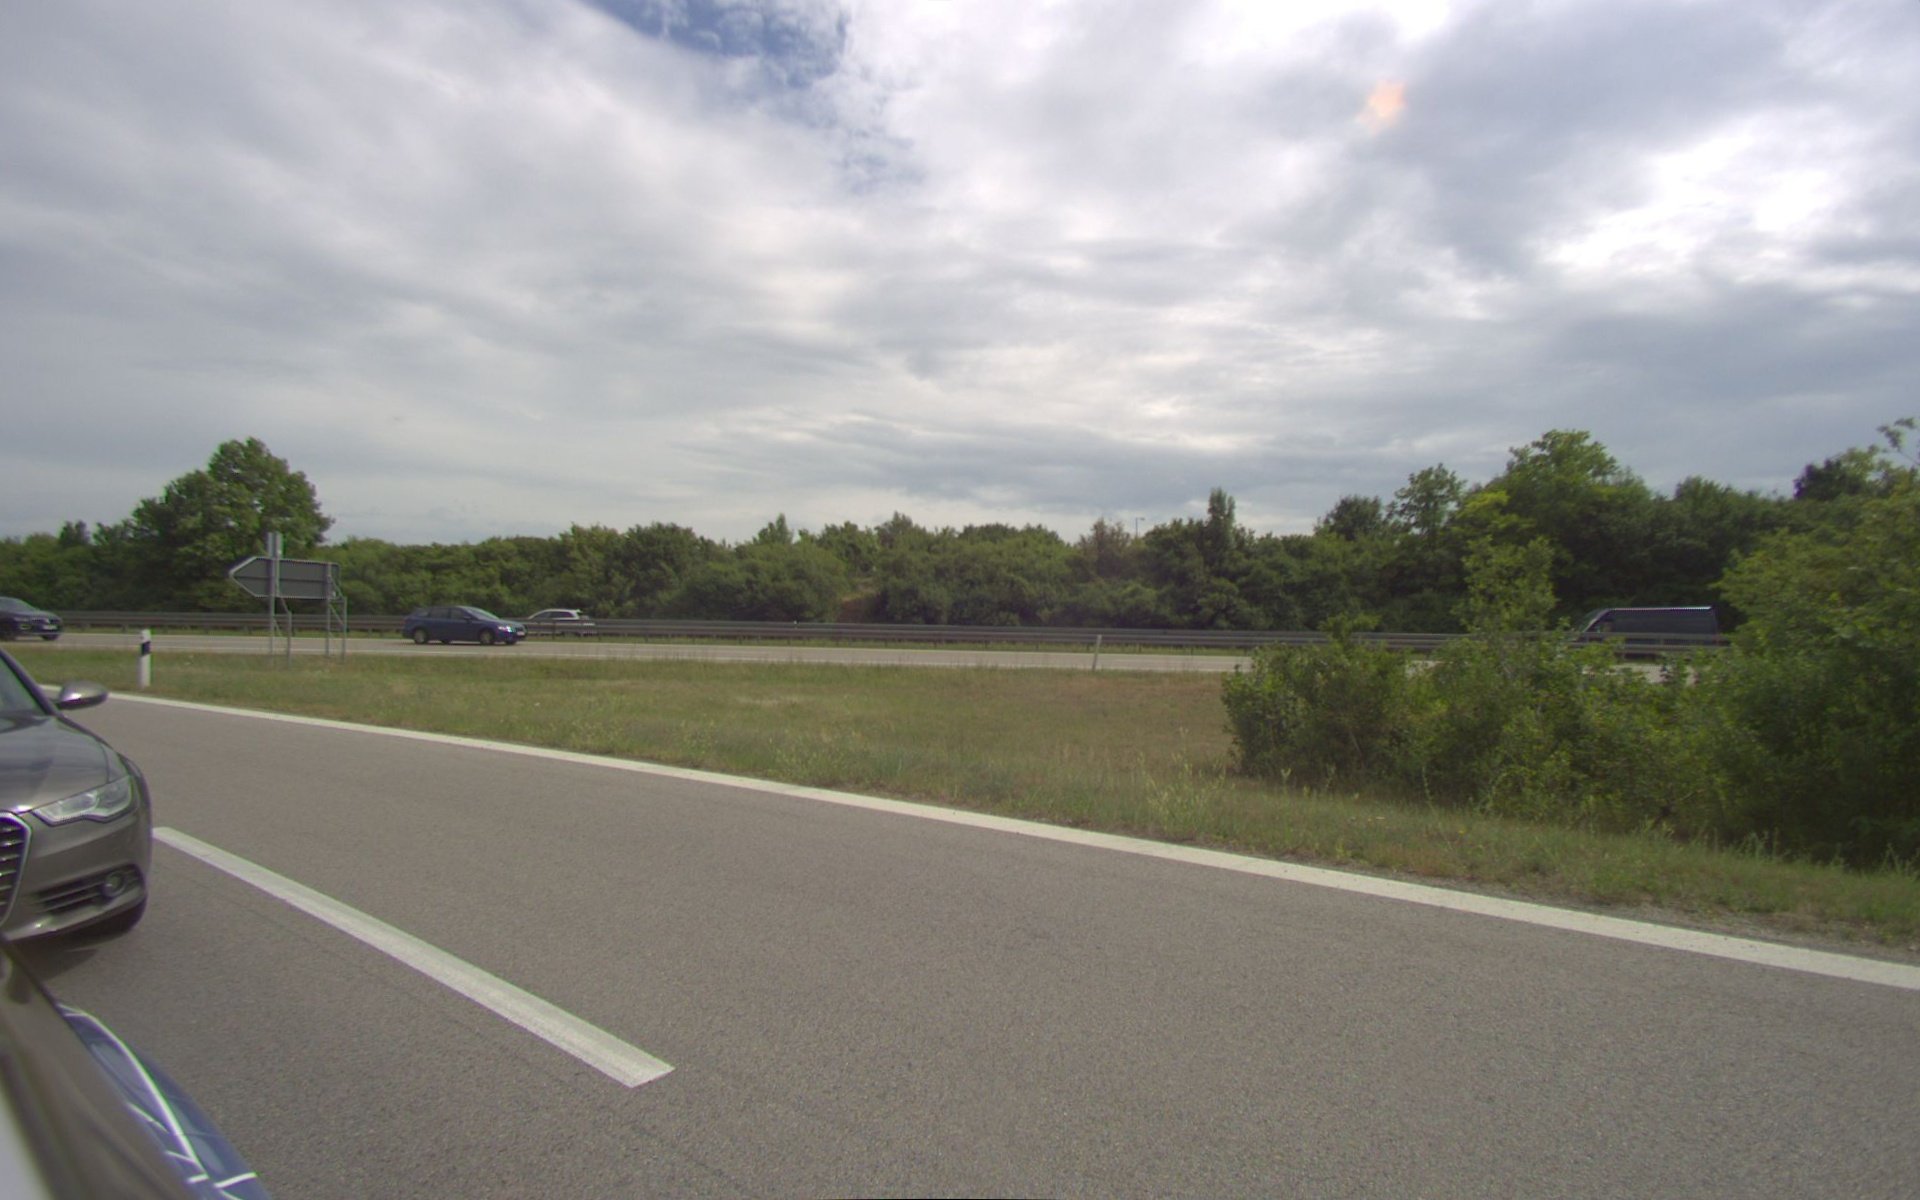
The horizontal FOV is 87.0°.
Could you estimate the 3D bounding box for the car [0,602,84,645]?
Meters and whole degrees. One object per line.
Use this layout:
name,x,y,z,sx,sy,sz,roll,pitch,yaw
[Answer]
car,-34.145,0.788,36.084,4.405,1.434,1.996,1,0,7

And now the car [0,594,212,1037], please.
car,-5.286,0.771,4.653,4.535,1.526,1.973,-1,-1,40

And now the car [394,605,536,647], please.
car,-18.496,0.955,37.914,4.406,1.434,1.995,1,0,8

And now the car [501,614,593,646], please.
car,-20.910,1.489,51.346,3.950,1.497,1.810,1,0,5

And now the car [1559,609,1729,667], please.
car,30.388,1.654,45.142,5.896,2.453,2.138,-1,0,7
